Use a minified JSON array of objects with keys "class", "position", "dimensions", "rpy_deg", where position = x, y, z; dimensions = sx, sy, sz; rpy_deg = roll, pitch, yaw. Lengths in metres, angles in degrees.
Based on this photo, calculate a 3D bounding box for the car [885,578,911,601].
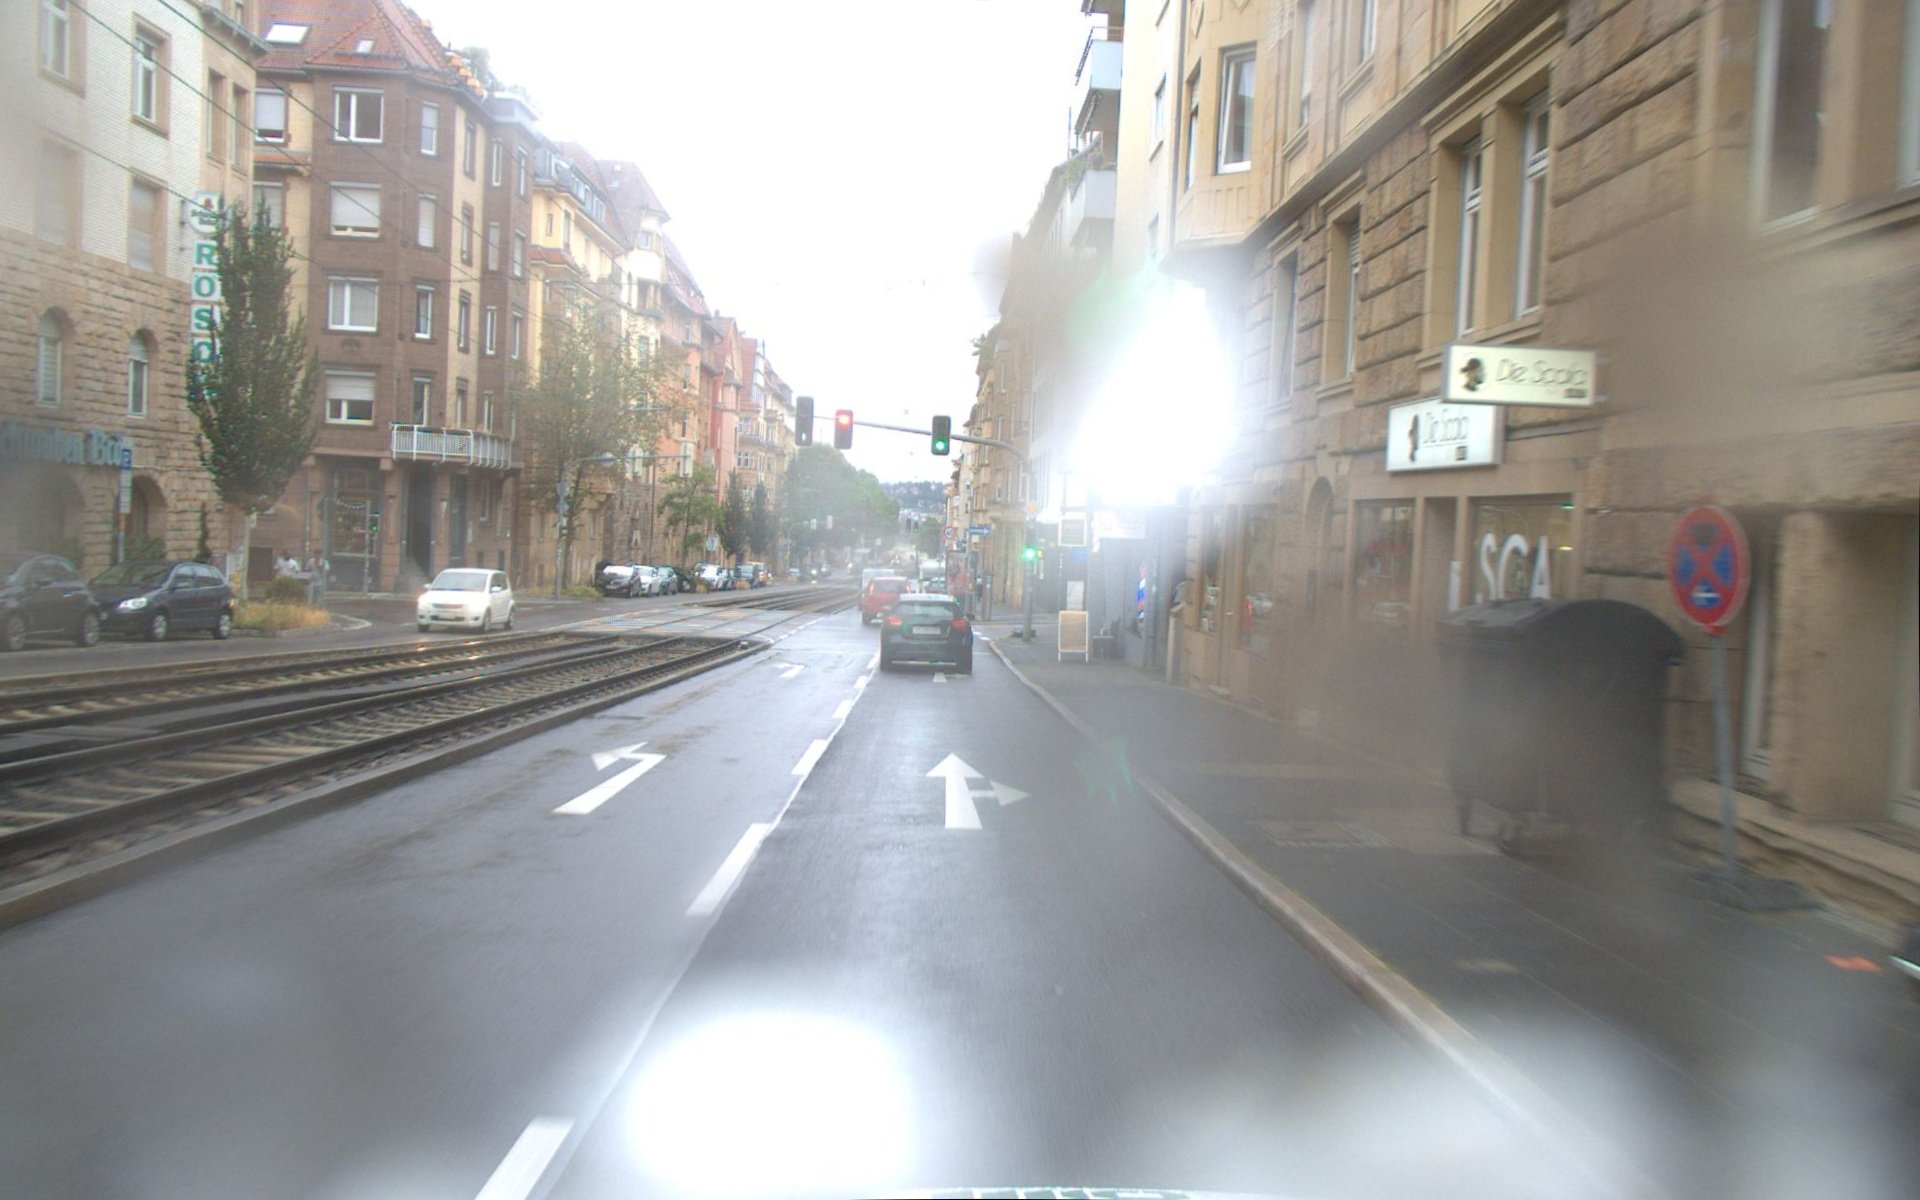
[{"class":"car","position":[-4.742,-0.794,127.067],"dimensions":[1.864,1.621,3.999],"rpy_deg":[2,0,-1]}]

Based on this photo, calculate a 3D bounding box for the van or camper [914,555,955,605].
[{"class":"van or camper","position":[-1.351,-1.069,88.467],"dimensions":[2.022,2.512,6.118],"rpy_deg":[2,0,-1]}]

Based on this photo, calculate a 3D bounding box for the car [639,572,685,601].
[{"class":"car","position":[-15.746,-0.691,87.419],"dimensions":[1.529,1.463,4.147],"rpy_deg":[2,0,2]}]

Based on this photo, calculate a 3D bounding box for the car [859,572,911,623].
[{"class":"car","position":[-2.444,-0.107,54.806],"dimensions":[1.504,1.536,4.000],"rpy_deg":[3,1,-1]}]

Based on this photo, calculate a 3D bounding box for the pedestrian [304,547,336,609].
[{"class":"pedestrian","position":[-16.782,-0.562,43.401],"dimensions":[0.506,1.598,0.644],"rpy_deg":[2,0,3]}]

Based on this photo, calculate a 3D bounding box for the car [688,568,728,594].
[{"class":"car","position":[-16.237,-1.219,106.794],"dimensions":[1.748,1.617,4.352],"rpy_deg":[2,0,2]}]

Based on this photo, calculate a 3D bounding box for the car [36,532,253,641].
[{"class":"car","position":[-15.052,-0.244,30.762],"dimensions":[1.847,1.757,3.742],"rpy_deg":[5,0,4]}]

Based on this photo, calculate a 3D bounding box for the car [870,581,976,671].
[{"class":"car","position":[-0.742,0.470,32.114],"dimensions":[1.907,1.592,3.641],"rpy_deg":[2,0,-2]}]

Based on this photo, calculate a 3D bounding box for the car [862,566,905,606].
[{"class":"car","position":[-3.542,-0.642,76.187],"dimensions":[1.883,1.684,3.997],"rpy_deg":[3,0,-3]}]

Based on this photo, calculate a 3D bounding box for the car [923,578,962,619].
[{"class":"car","position":[-0.879,-0.106,80.132],"dimensions":[1.733,1.839,4.481],"rpy_deg":[3,1,-1]}]

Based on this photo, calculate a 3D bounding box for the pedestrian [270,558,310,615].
[{"class":"pedestrian","position":[-17.553,-0.349,43.337],"dimensions":[0.738,1.446,0.645],"rpy_deg":[2,0,1]}]

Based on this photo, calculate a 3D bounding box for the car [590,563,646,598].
[{"class":"car","position":[-15.859,-0.898,76.880],"dimensions":[1.729,1.512,4.000],"rpy_deg":[2,0,0]}]

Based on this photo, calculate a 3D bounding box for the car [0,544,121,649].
[{"class":"car","position":[-14.853,-0.101,25.847],"dimensions":[1.771,1.524,3.524],"rpy_deg":[2,0,-4]}]

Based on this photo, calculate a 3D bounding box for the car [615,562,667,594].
[{"class":"car","position":[-15.794,-1.089,82.069],"dimensions":[1.633,1.450,4.263],"rpy_deg":[2,1,0]}]

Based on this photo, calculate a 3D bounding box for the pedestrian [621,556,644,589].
[{"class":"pedestrian","position":[-18.406,-1.523,92.977],"dimensions":[0.987,1.784,0.924],"rpy_deg":[4,1,-1]}]

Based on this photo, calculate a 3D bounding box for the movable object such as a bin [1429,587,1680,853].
[{"class":"movable object such as a bin","position":[3.503,0.664,9.892],"dimensions":[0.988,1.476,1.393],"rpy_deg":[0,0,-1]}]

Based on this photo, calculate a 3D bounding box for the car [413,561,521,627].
[{"class":"car","position":[-12.195,-0.146,41.107],"dimensions":[1.594,1.507,3.580],"rpy_deg":[2,0,-1]}]
